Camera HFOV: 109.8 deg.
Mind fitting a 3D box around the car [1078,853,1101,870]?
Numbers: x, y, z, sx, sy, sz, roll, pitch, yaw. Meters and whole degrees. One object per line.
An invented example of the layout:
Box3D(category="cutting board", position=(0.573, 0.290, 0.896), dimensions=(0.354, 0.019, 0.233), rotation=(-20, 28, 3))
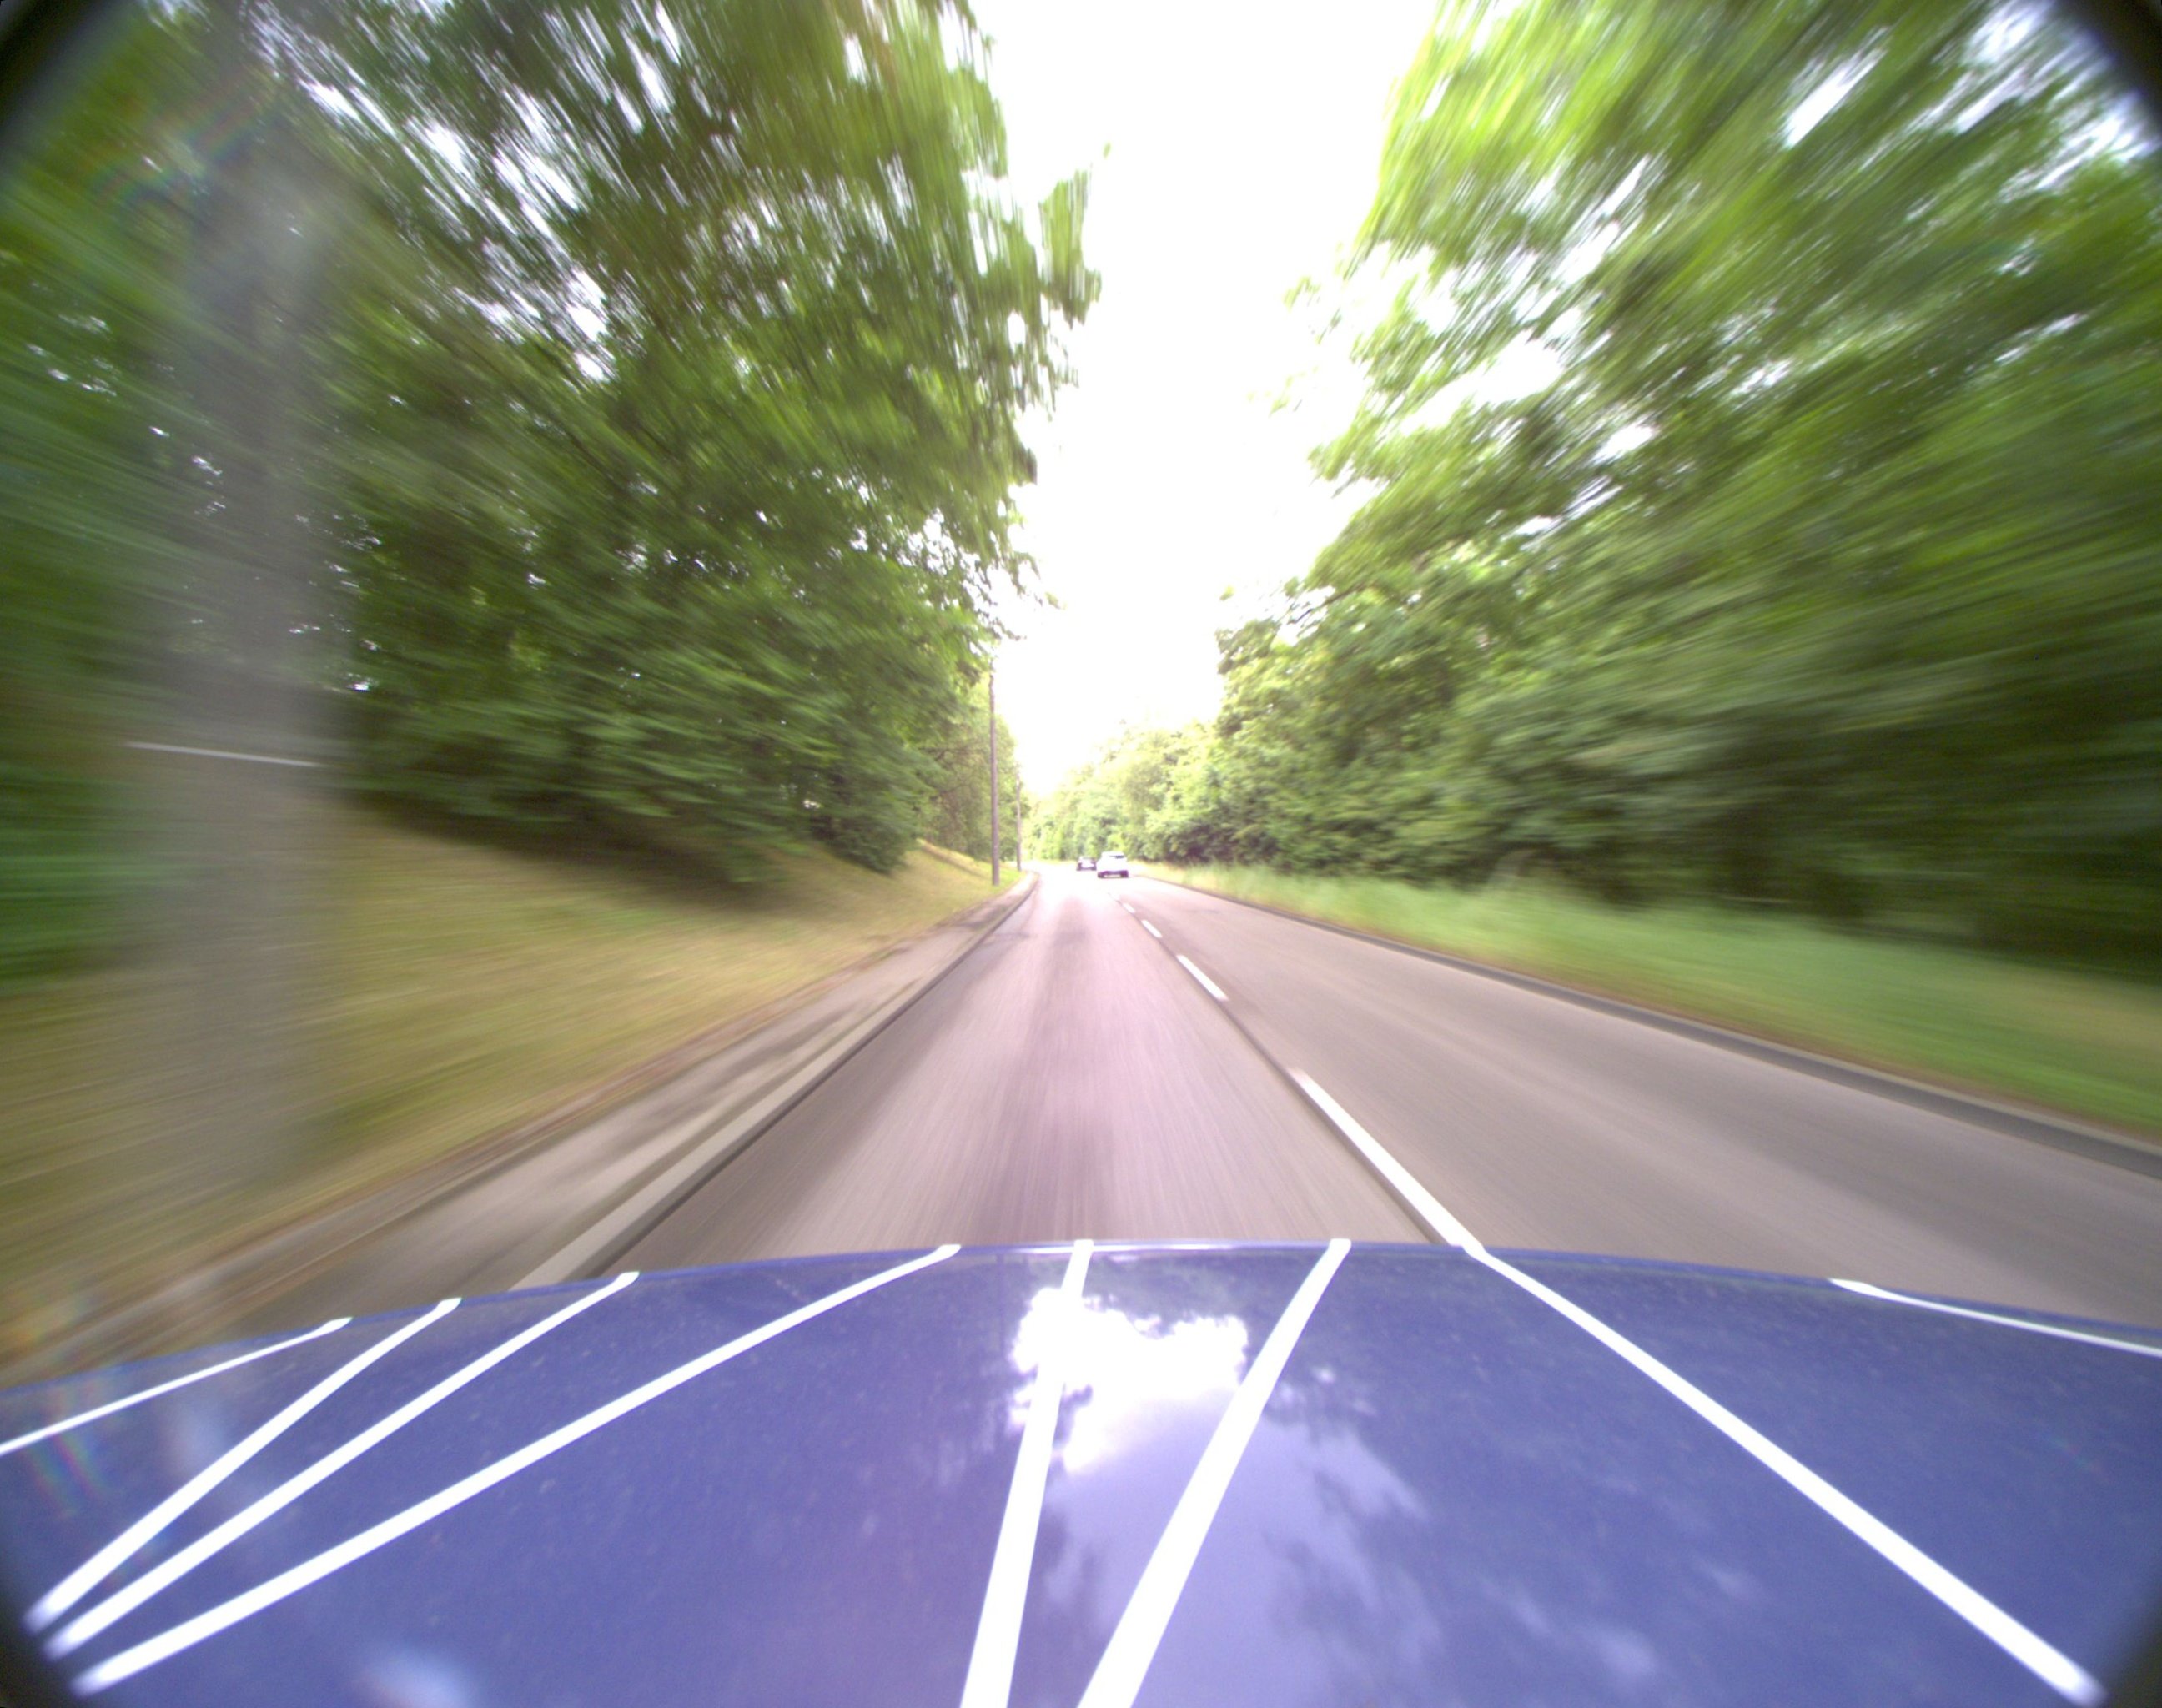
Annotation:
Box3D(category="car", position=(0.831, 0.677, 75.526), dimensions=(2.035, 1.499, 4.594), rotation=(-3, 1, -2))

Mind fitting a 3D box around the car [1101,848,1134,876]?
Box3D(category="car", position=(2.397, 0.520, 50.671), dimensions=(1.824, 1.685, 4.286), rotation=(-3, 1, -2))
